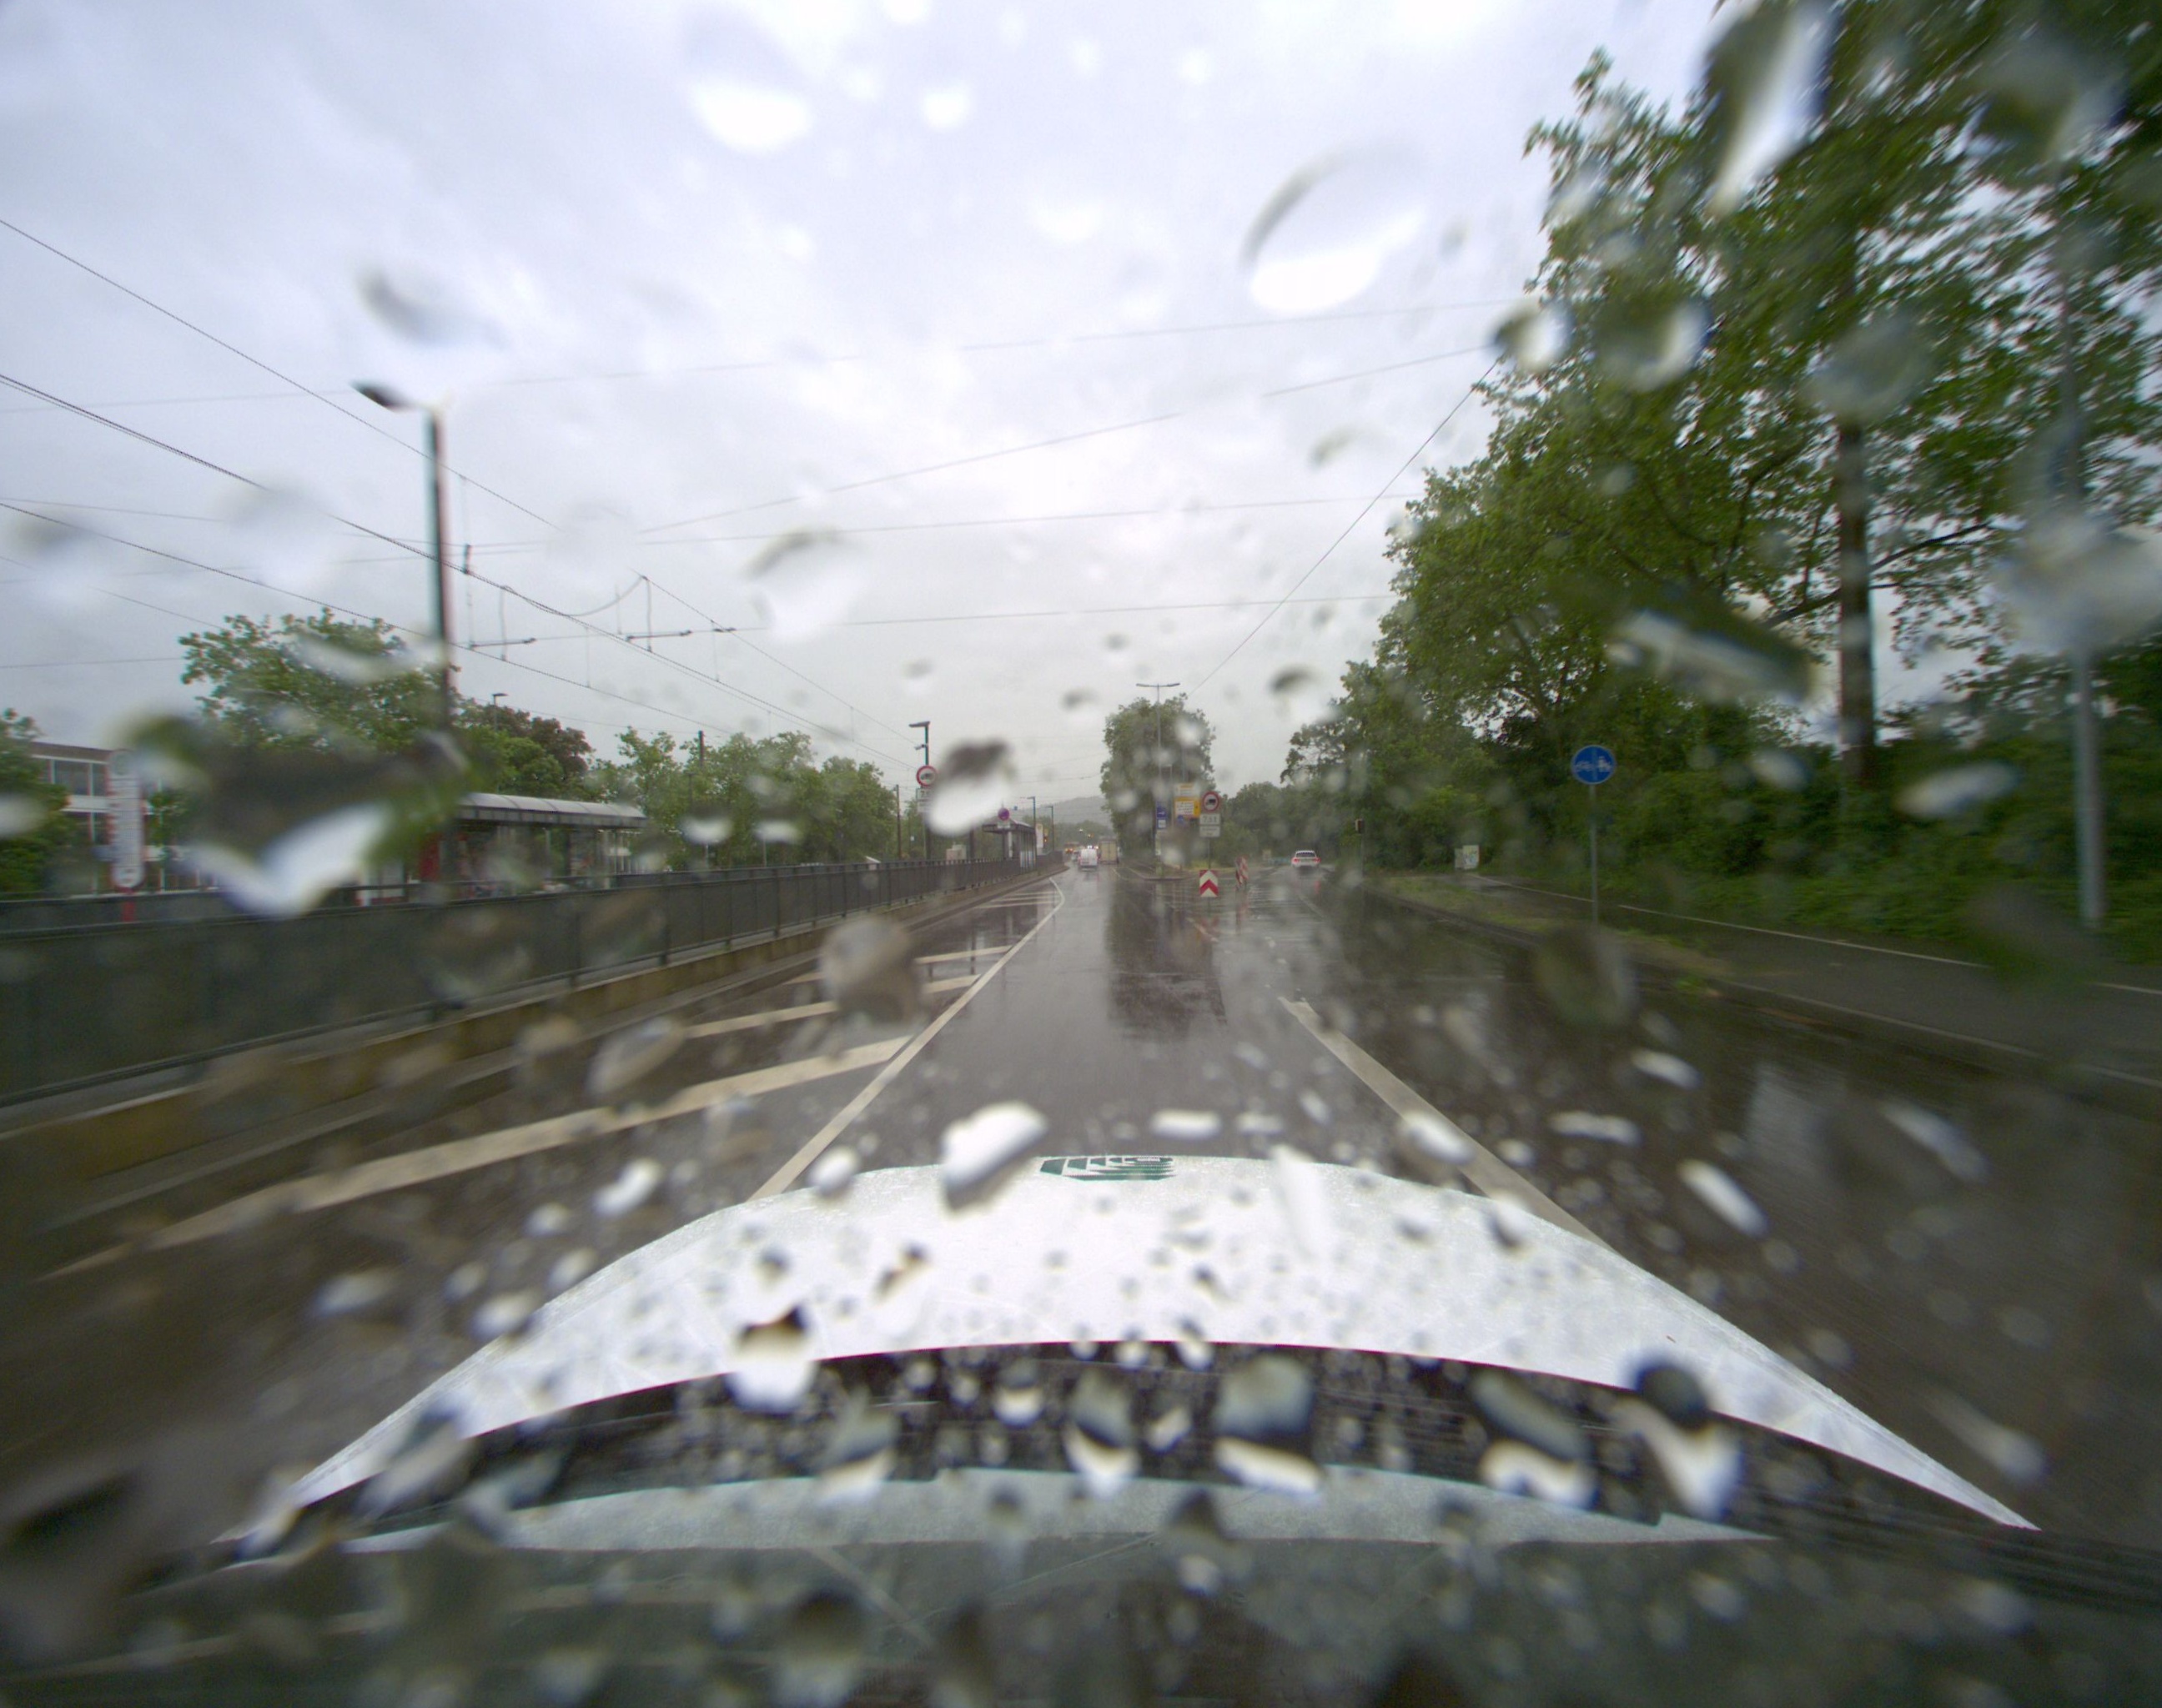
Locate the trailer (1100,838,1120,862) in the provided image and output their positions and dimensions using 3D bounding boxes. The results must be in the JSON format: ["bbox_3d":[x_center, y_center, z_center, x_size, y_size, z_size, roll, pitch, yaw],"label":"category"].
[{"bbox_3d":[3.578,-0.480,98.767,2.156,2.757,5.682,-1,0,4],"label":"trailer"}]

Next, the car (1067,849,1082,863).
[{"bbox_3d":[-0.811,0.254,104.702,1.780,1.642,3.969,-1,0,1],"label":"car"}]

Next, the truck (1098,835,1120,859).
[{"bbox_3d":[4.388,-1.082,129.949,2.768,3.704,9.845,-1,0,-2],"label":"truck"}]

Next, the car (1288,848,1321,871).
[{"bbox_3d":[14.715,0.325,53.707,1.875,1.431,4.014,-1,0,12],"label":"car"}]

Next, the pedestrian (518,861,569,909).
[{"bbox_3d":[-15.133,0.861,22.939,0.828,1.316,0.858,0,0,2],"label":"pedestrian"}]

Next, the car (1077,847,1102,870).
[{"bbox_3d":[0.681,0.355,69.219,1.988,1.849,3.997,-1,0,-2],"label":"car"}]
